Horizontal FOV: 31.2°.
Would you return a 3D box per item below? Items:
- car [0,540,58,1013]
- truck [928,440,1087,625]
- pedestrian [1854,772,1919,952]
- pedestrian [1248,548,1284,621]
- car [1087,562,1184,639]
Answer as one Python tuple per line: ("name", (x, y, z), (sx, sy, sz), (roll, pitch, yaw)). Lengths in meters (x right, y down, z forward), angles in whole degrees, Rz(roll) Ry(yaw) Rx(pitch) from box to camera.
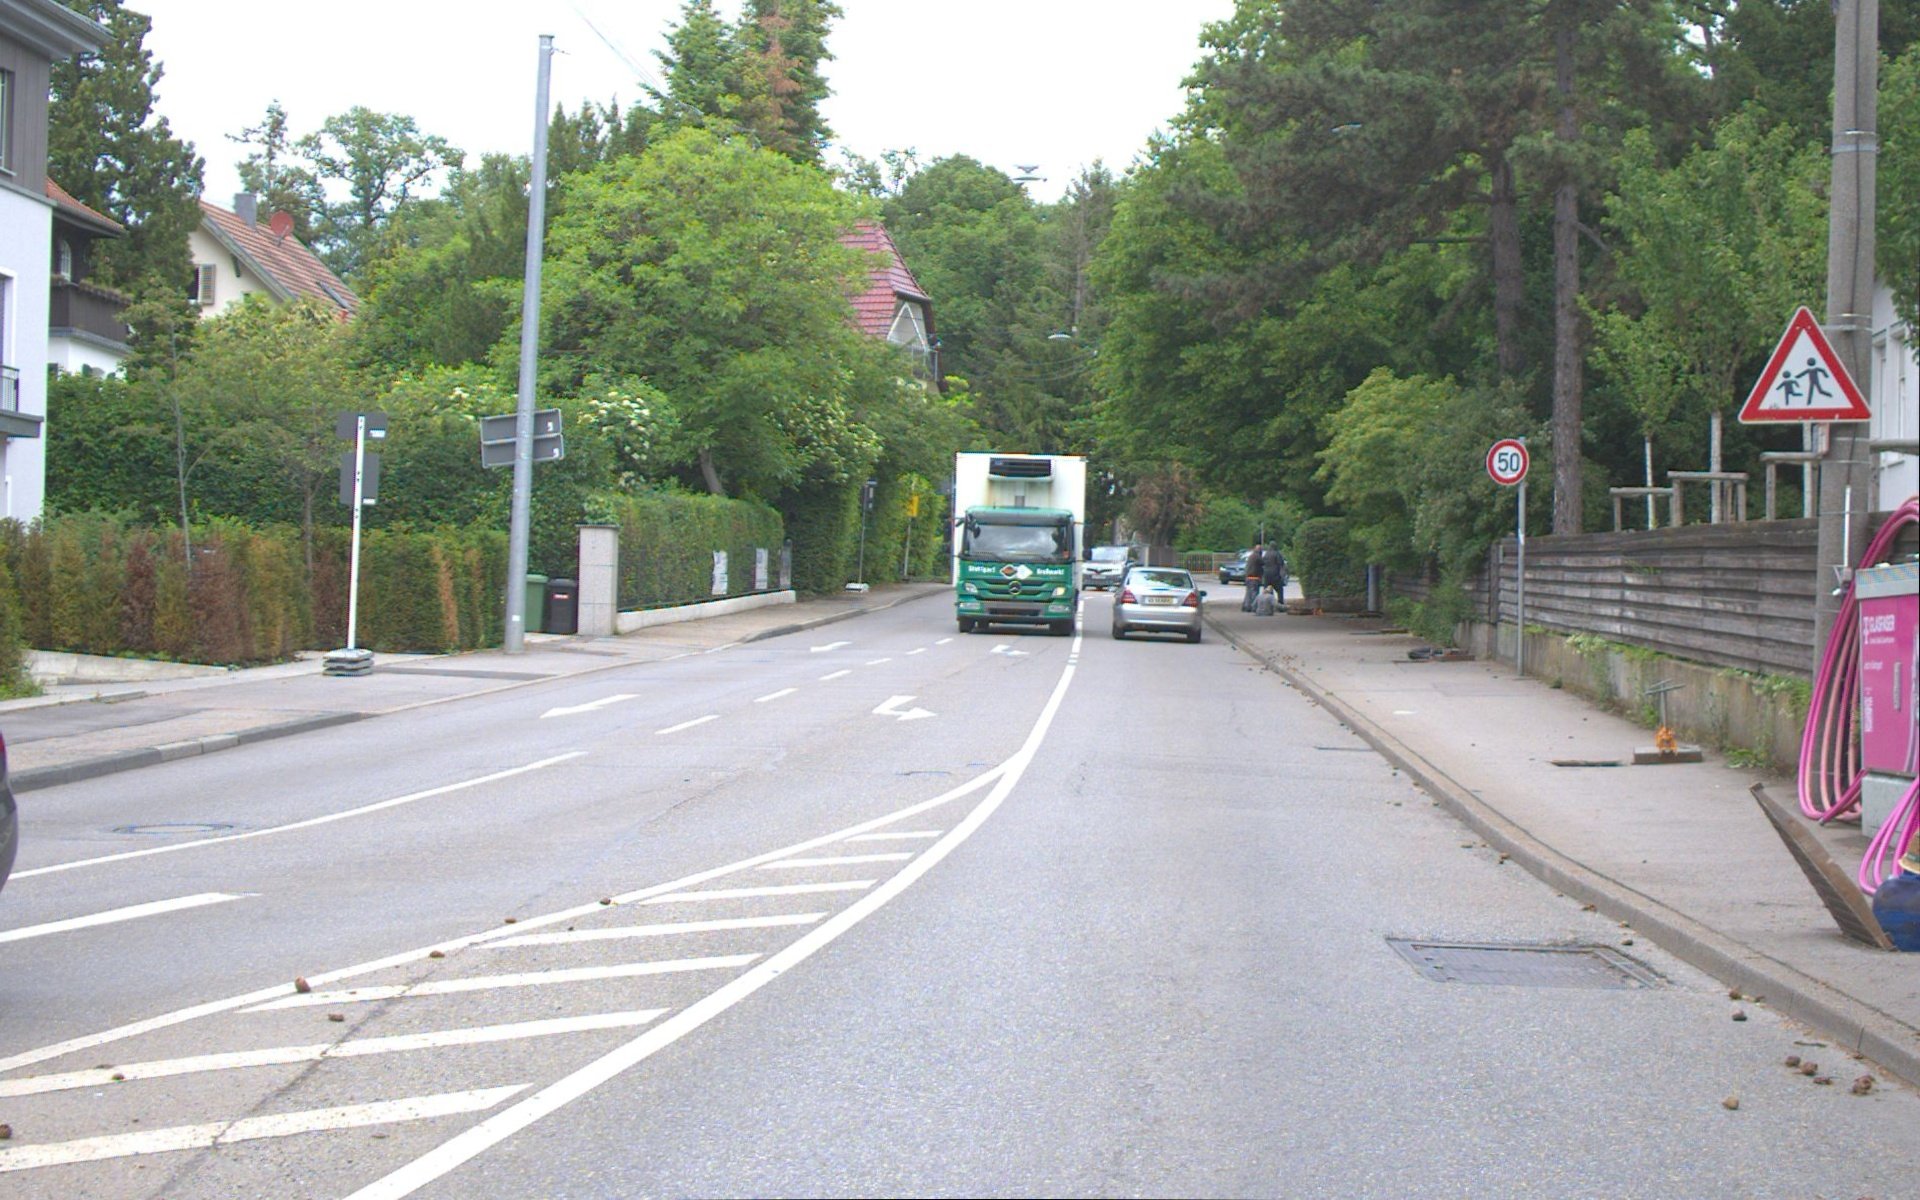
("car", (-4.417, 0.578, 9.032), (1.827, 1.480, 4.744), (1, 1, 15))
("truck", (0.870, -1.289, 69.491), (2.777, 3.449, 7.494), (1, 0, -2))
("pedestrian", (4.107, 1.073, 14.049), (0.645, 0.694, 0.585), (1, 1, -38))
("pedestrian", (7.715, -0.391, 86.704), (0.807, 1.801, 0.741), (2, 1, 2))
("car", (3.455, 0.020, 67.170), (1.797, 1.410, 4.335), (1, 0, 4))
